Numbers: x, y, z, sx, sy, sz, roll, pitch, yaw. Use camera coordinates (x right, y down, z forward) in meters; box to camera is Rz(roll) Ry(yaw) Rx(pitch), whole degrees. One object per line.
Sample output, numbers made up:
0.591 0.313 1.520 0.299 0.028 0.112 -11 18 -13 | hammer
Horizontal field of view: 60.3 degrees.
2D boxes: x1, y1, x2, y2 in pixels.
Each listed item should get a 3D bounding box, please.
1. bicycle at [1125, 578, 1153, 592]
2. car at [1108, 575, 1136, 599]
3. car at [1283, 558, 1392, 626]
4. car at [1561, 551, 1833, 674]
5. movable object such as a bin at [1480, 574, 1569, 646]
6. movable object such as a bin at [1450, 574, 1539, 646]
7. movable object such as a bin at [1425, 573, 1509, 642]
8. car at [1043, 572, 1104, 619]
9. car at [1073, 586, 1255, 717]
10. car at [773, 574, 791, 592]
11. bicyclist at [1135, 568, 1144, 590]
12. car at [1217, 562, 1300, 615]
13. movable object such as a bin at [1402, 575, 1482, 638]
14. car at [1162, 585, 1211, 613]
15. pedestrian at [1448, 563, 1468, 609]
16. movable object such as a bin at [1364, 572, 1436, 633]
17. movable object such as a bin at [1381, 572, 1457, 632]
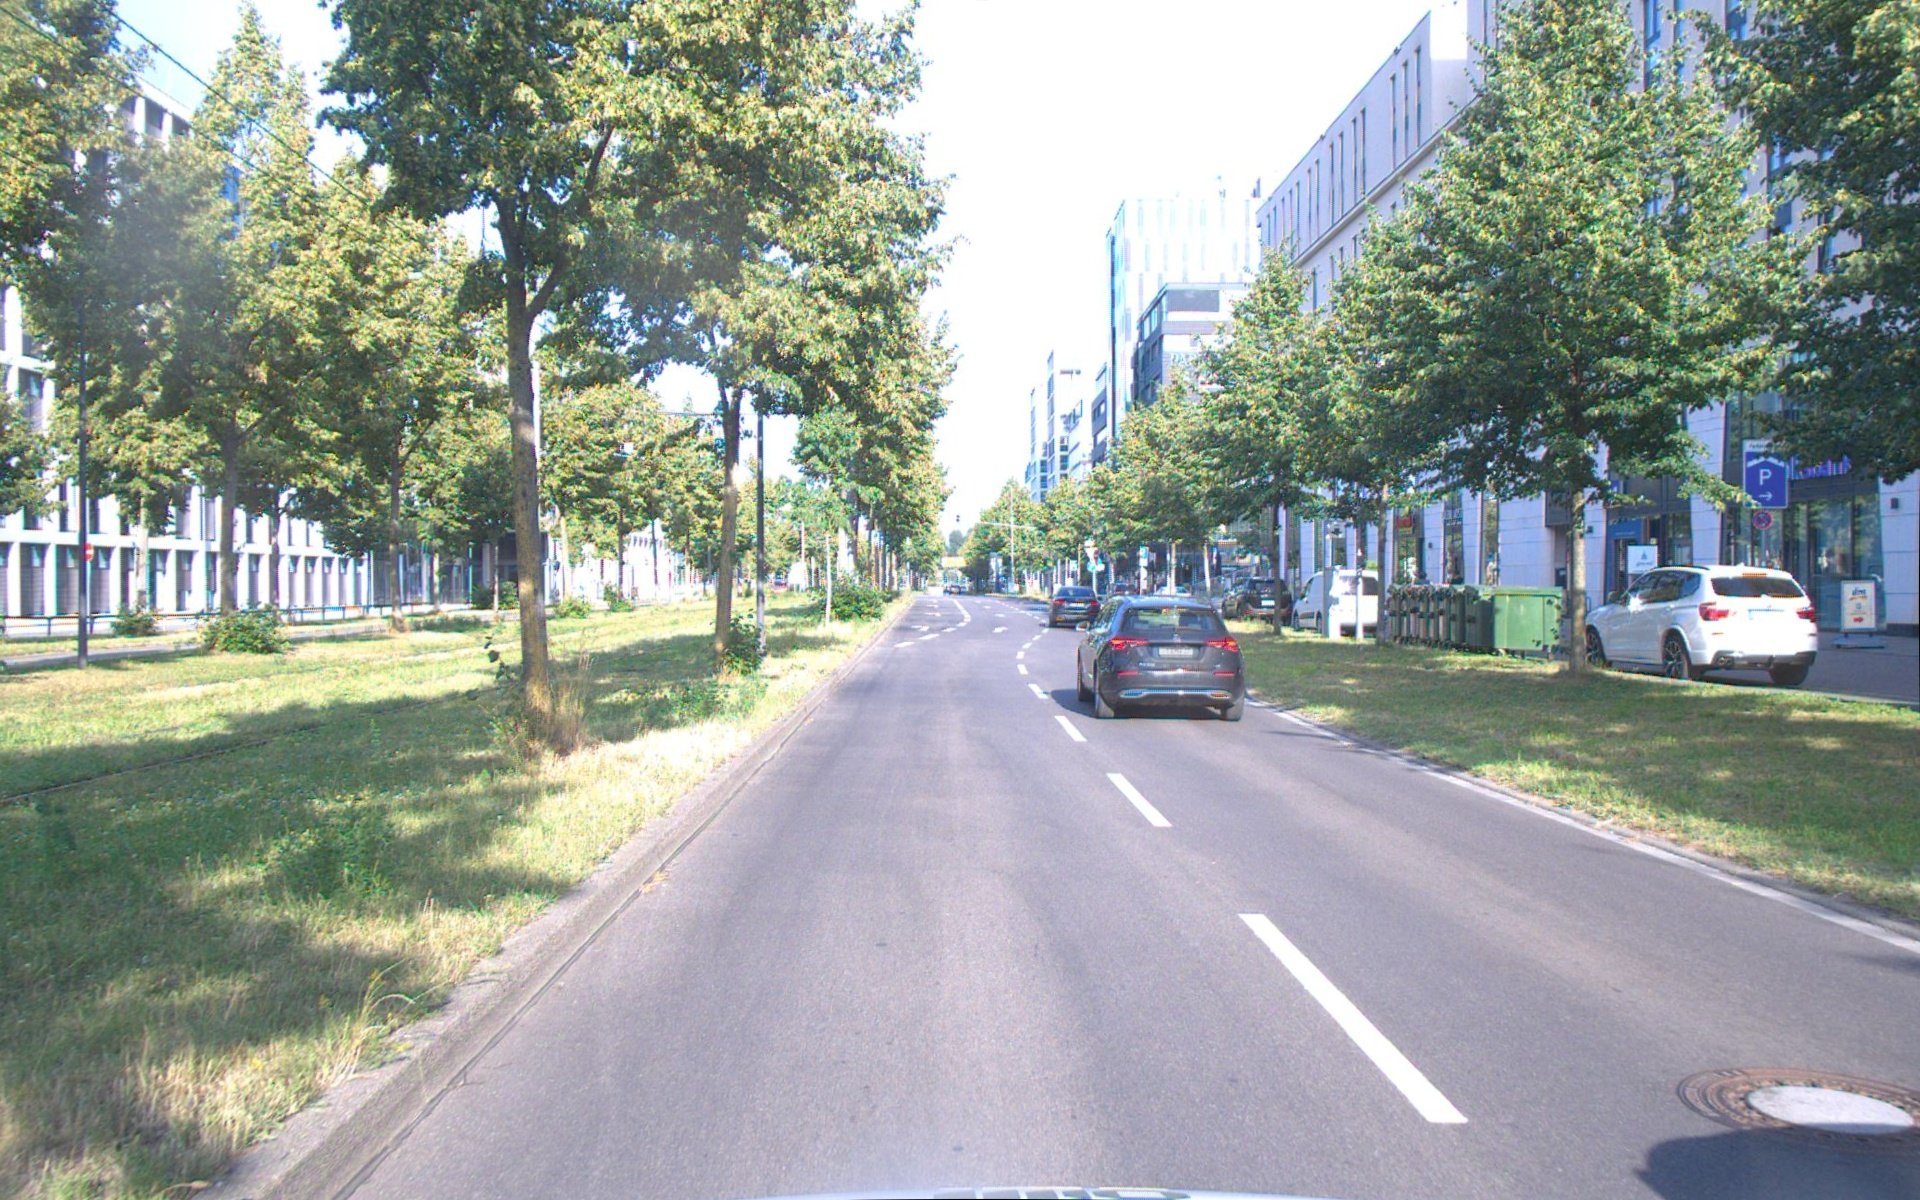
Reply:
13.760 -1.185 127.137 2.092 1.030 0.571 1 0 -5 | bicycle
9.764 -0.768 99.878 1.573 1.394 4.159 1 0 4 | car
10.420 -0.226 45.940 1.791 1.741 4.293 1 0 -4 | car
10.889 0.135 24.881 1.696 1.658 4.847 -1 1 -4 | car
10.377 0.182 30.385 1.371 1.258 1.334 1 0 26 | movable object such as a bin
10.294 0.185 31.916 1.252 1.324 1.190 1 0 -4 | movable object such as a bin
10.172 0.139 33.255 1.252 1.340 1.190 1 0 -4 | movable object such as a bin
3.937 -0.173 57.905 1.822 1.551 3.785 1 0 -1 | car
2.459 0.576 20.786 1.738 1.449 3.960 1 0 -1 | car
-18.715 -1.792 174.123 1.651 1.806 3.879 1 0 -4 | car
13.809 -1.612 127.138 0.563 1.736 0.540 1 0 -5 | bicyclist
10.423 -0.456 58.080 1.859 1.738 4.676 1 1 -3 | car
10.081 0.132 34.623 1.252 1.258 1.190 1 0 -4 | movable object such as a bin
10.792 -0.050 78.884 1.674 1.264 3.904 1 0 -2 | car
19.256 -0.540 64.000 0.526 1.793 0.646 1 0 -1 | pedestrian
9.916 0.058 37.319 1.252 1.314 1.177 1 0 -4 | movable object such as a bin
10.004 0.043 36.068 1.252 1.258 1.190 1 0 -4 | movable object such as a bin
